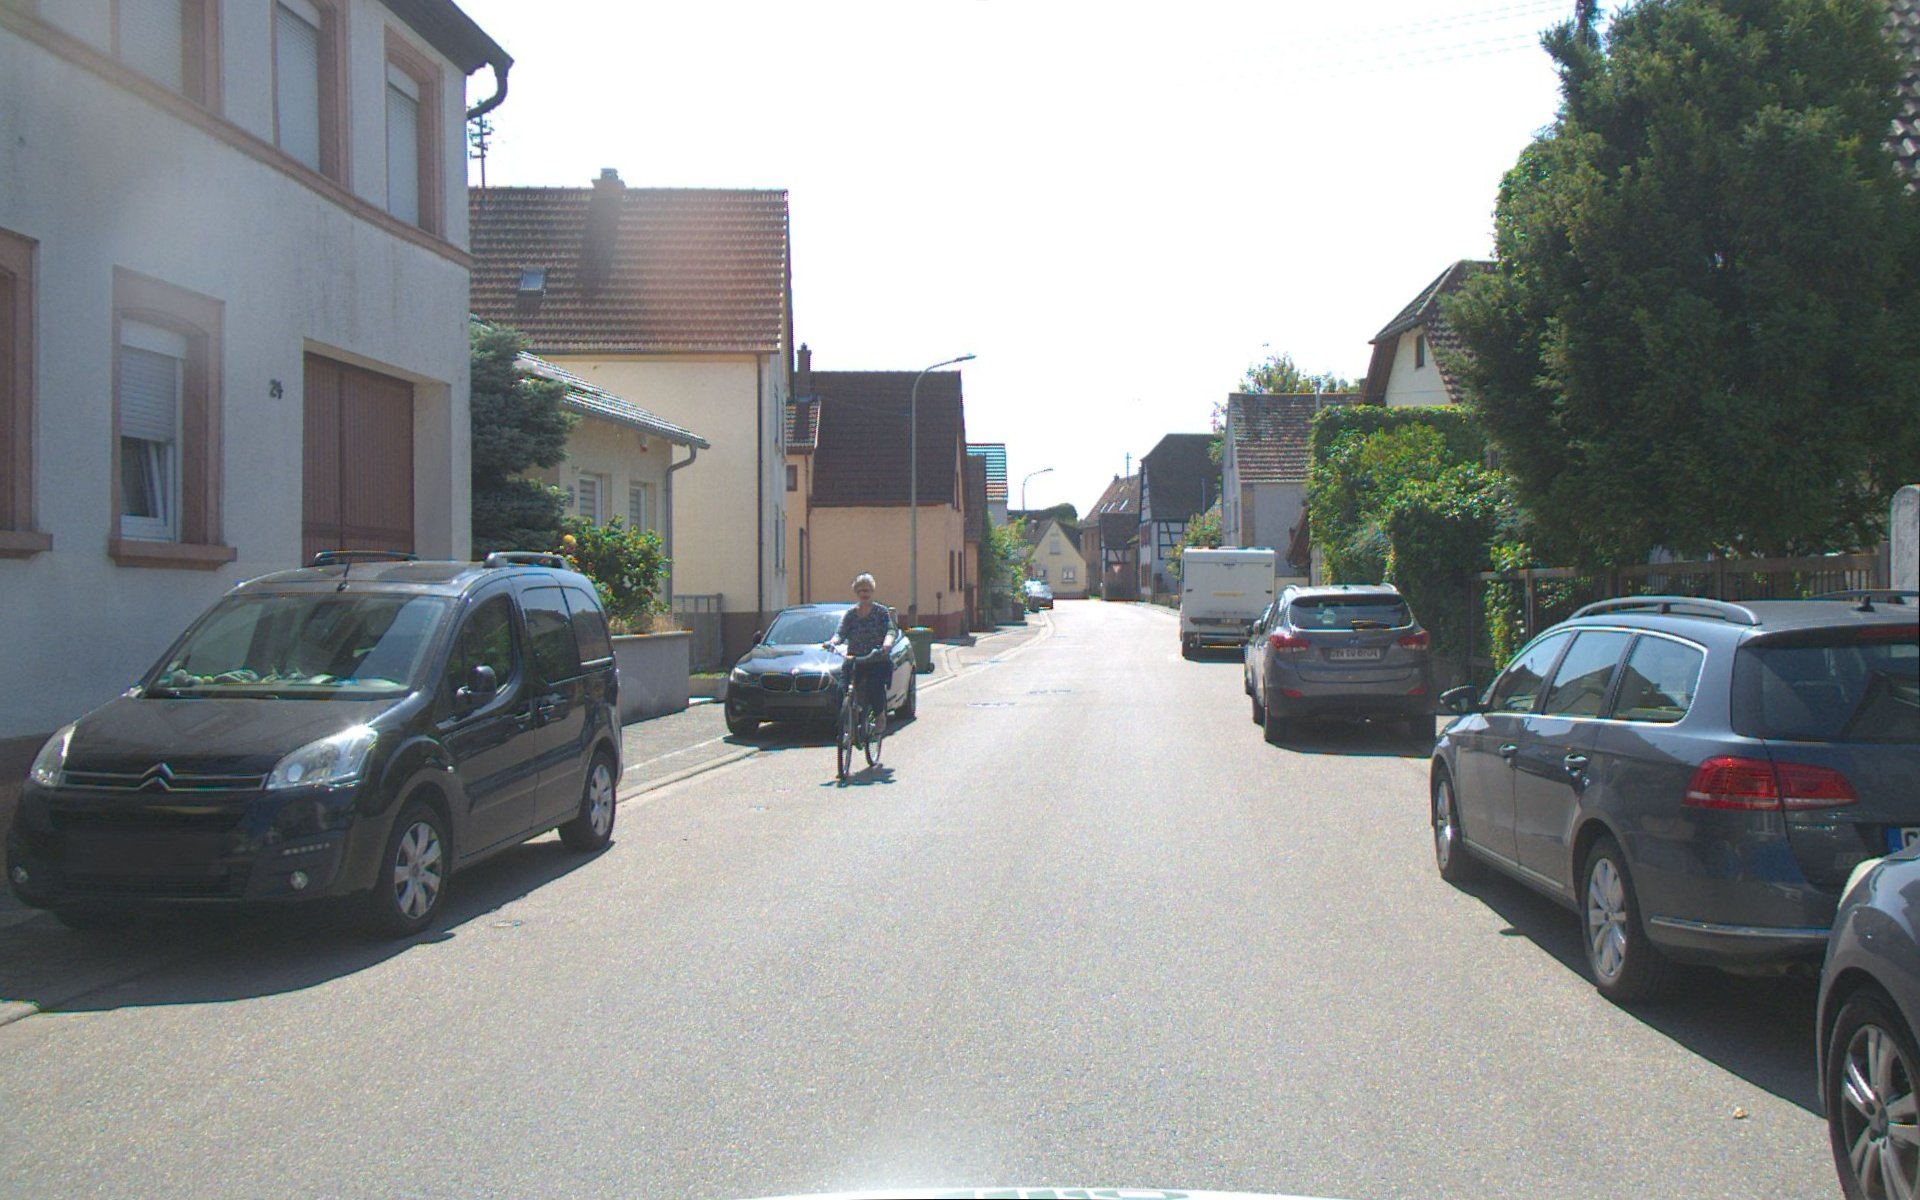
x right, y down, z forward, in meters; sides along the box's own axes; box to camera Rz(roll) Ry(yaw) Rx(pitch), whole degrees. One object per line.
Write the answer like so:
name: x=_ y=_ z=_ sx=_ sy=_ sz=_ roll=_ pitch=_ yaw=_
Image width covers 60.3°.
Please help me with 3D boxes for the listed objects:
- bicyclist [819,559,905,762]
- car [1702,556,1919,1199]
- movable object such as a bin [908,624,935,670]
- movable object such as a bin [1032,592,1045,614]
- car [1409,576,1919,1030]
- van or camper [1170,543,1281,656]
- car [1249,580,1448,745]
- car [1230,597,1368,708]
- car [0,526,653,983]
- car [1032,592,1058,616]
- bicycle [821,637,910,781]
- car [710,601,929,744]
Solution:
bicyclist: x=-0.887 y=0.542 z=15.110 sx=0.689 sy=1.802 sz=0.625 roll=-1 pitch=0 yaw=2
car: x=2.897 y=0.687 z=2.659 sx=1.759 sy=1.587 sz=4.634 roll=-1 pitch=0 yaw=6
movable object such as a bin: x=-0.836 y=1.016 z=35.838 sx=0.527 sy=0.966 sz=0.553 roll=0 pitch=0 yaw=5
movable object such as a bin: x=4.453 y=0.165 z=94.203 sx=0.674 sy=1.206 sz=0.715 roll=-2 pitch=0 yaw=6
car: x=3.487 y=0.681 z=7.878 sx=1.781 sy=1.535 sz=4.584 roll=-1 pitch=0 yaw=5
van or camper: x=6.787 y=-0.013 z=42.718 sx=2.468 sy=2.744 sz=4.558 roll=-1 pitch=0 yaw=5
car: x=4.325 y=0.617 z=18.999 sx=1.755 sy=1.659 sz=4.364 roll=-1 pitch=1 yaw=7
car: x=5.032 y=0.721 z=24.961 sx=1.675 sy=1.489 sz=4.068 roll=-1 pitch=0 yaw=7
car: x=-3.208 y=0.639 z=9.026 sx=1.795 sy=1.869 sz=4.356 roll=-1 pitch=0 yaw=6
car: x=5.513 y=0.229 z=106.625 sx=1.479 sy=1.461 sz=3.514 roll=-2 pitch=0 yaw=6
bicycle: x=-0.838 y=0.953 z=15.108 sx=0.577 sy=1.168 sz=1.949 roll=-2 pitch=0 yaw=3
car: x=-1.605 y=0.799 z=20.633 sx=1.805 sy=1.553 sz=4.769 roll=0 pitch=0 yaw=6
